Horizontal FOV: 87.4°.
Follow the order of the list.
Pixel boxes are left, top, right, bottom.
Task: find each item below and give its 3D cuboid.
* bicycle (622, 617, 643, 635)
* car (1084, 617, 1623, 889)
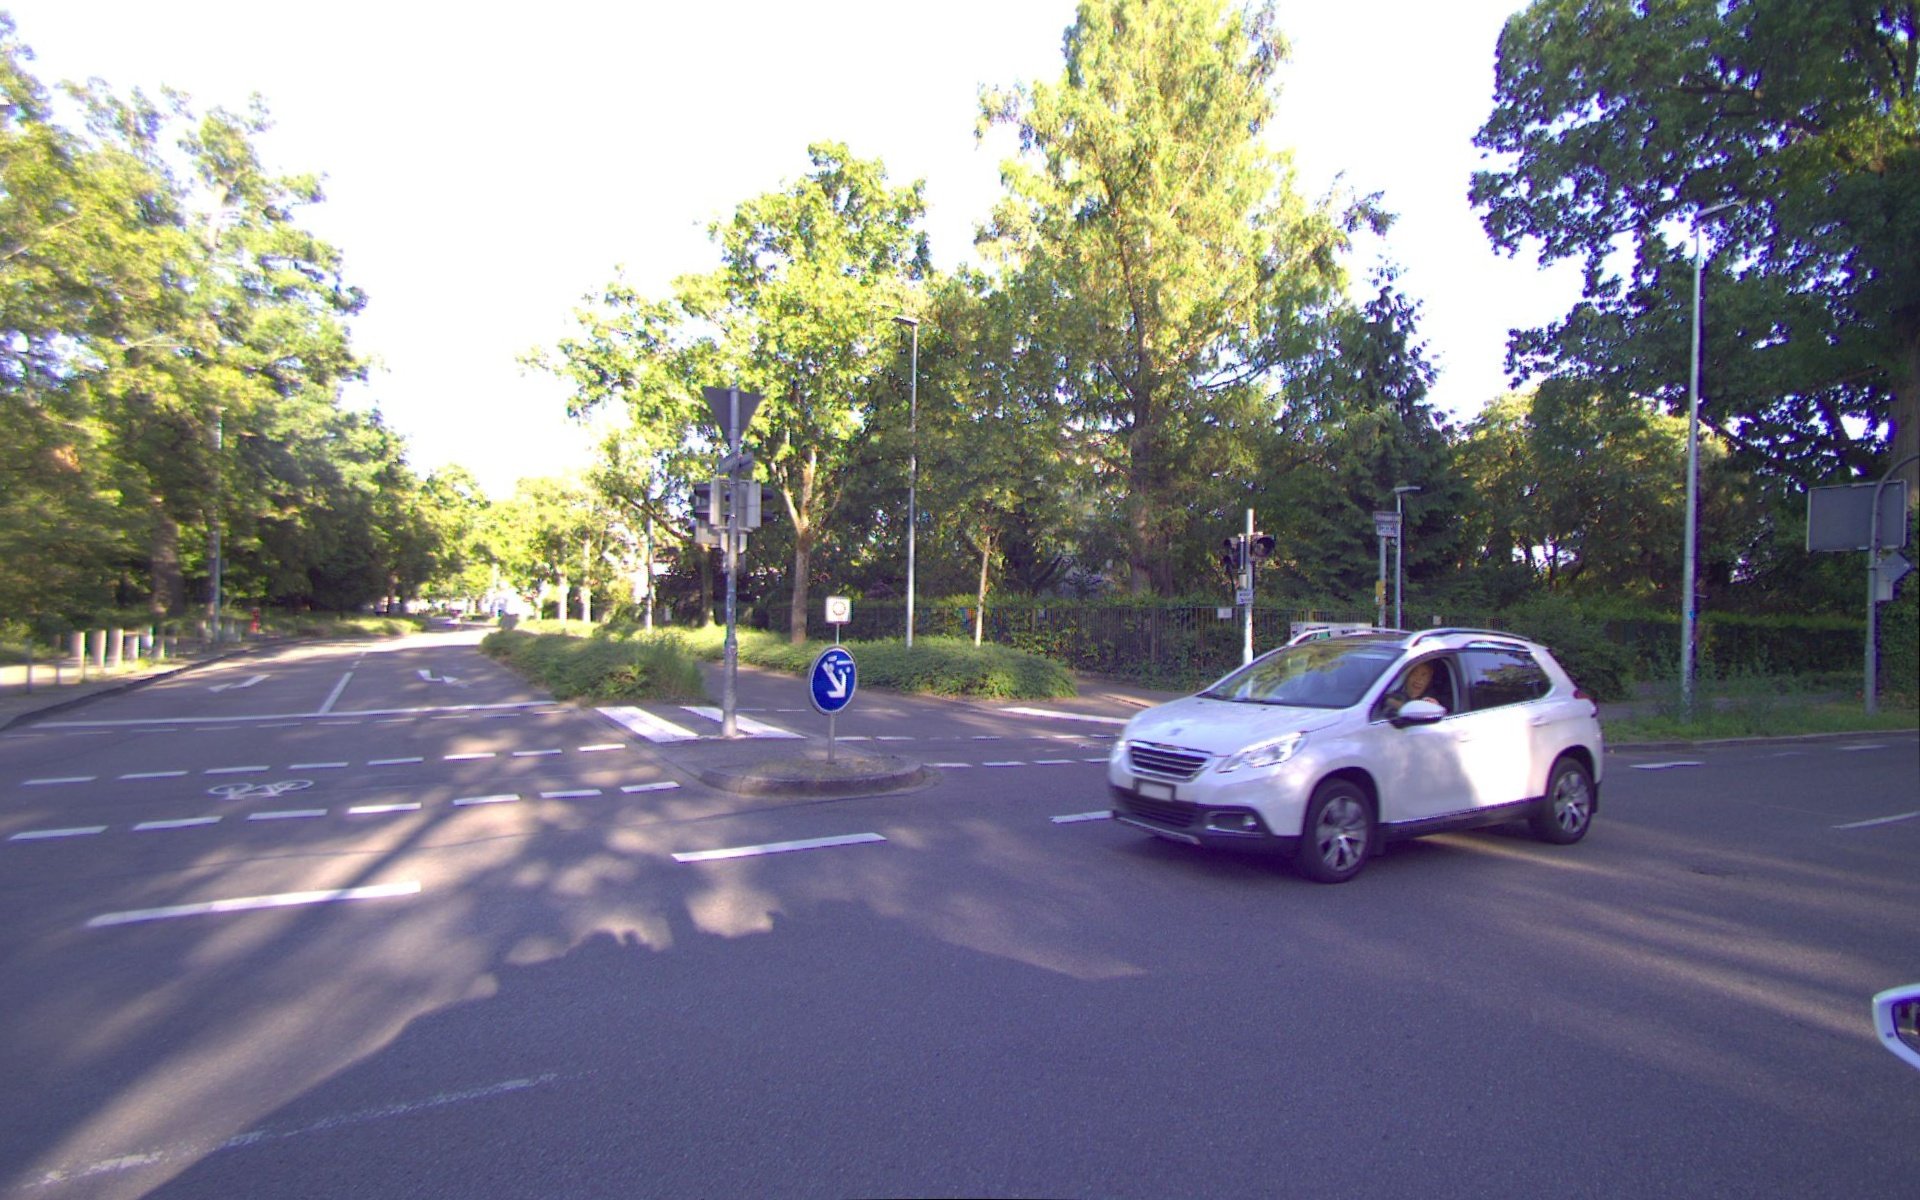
[{"bbox_3d":[-22.814,1.805,70.030,0.869,1.216,2.324,0,0,-5],"label":"bicycle"},{"bbox_3d":[2.963,0.959,7.423,3.855,1.543,1.670,2,-3,-30],"label":"car"}]
